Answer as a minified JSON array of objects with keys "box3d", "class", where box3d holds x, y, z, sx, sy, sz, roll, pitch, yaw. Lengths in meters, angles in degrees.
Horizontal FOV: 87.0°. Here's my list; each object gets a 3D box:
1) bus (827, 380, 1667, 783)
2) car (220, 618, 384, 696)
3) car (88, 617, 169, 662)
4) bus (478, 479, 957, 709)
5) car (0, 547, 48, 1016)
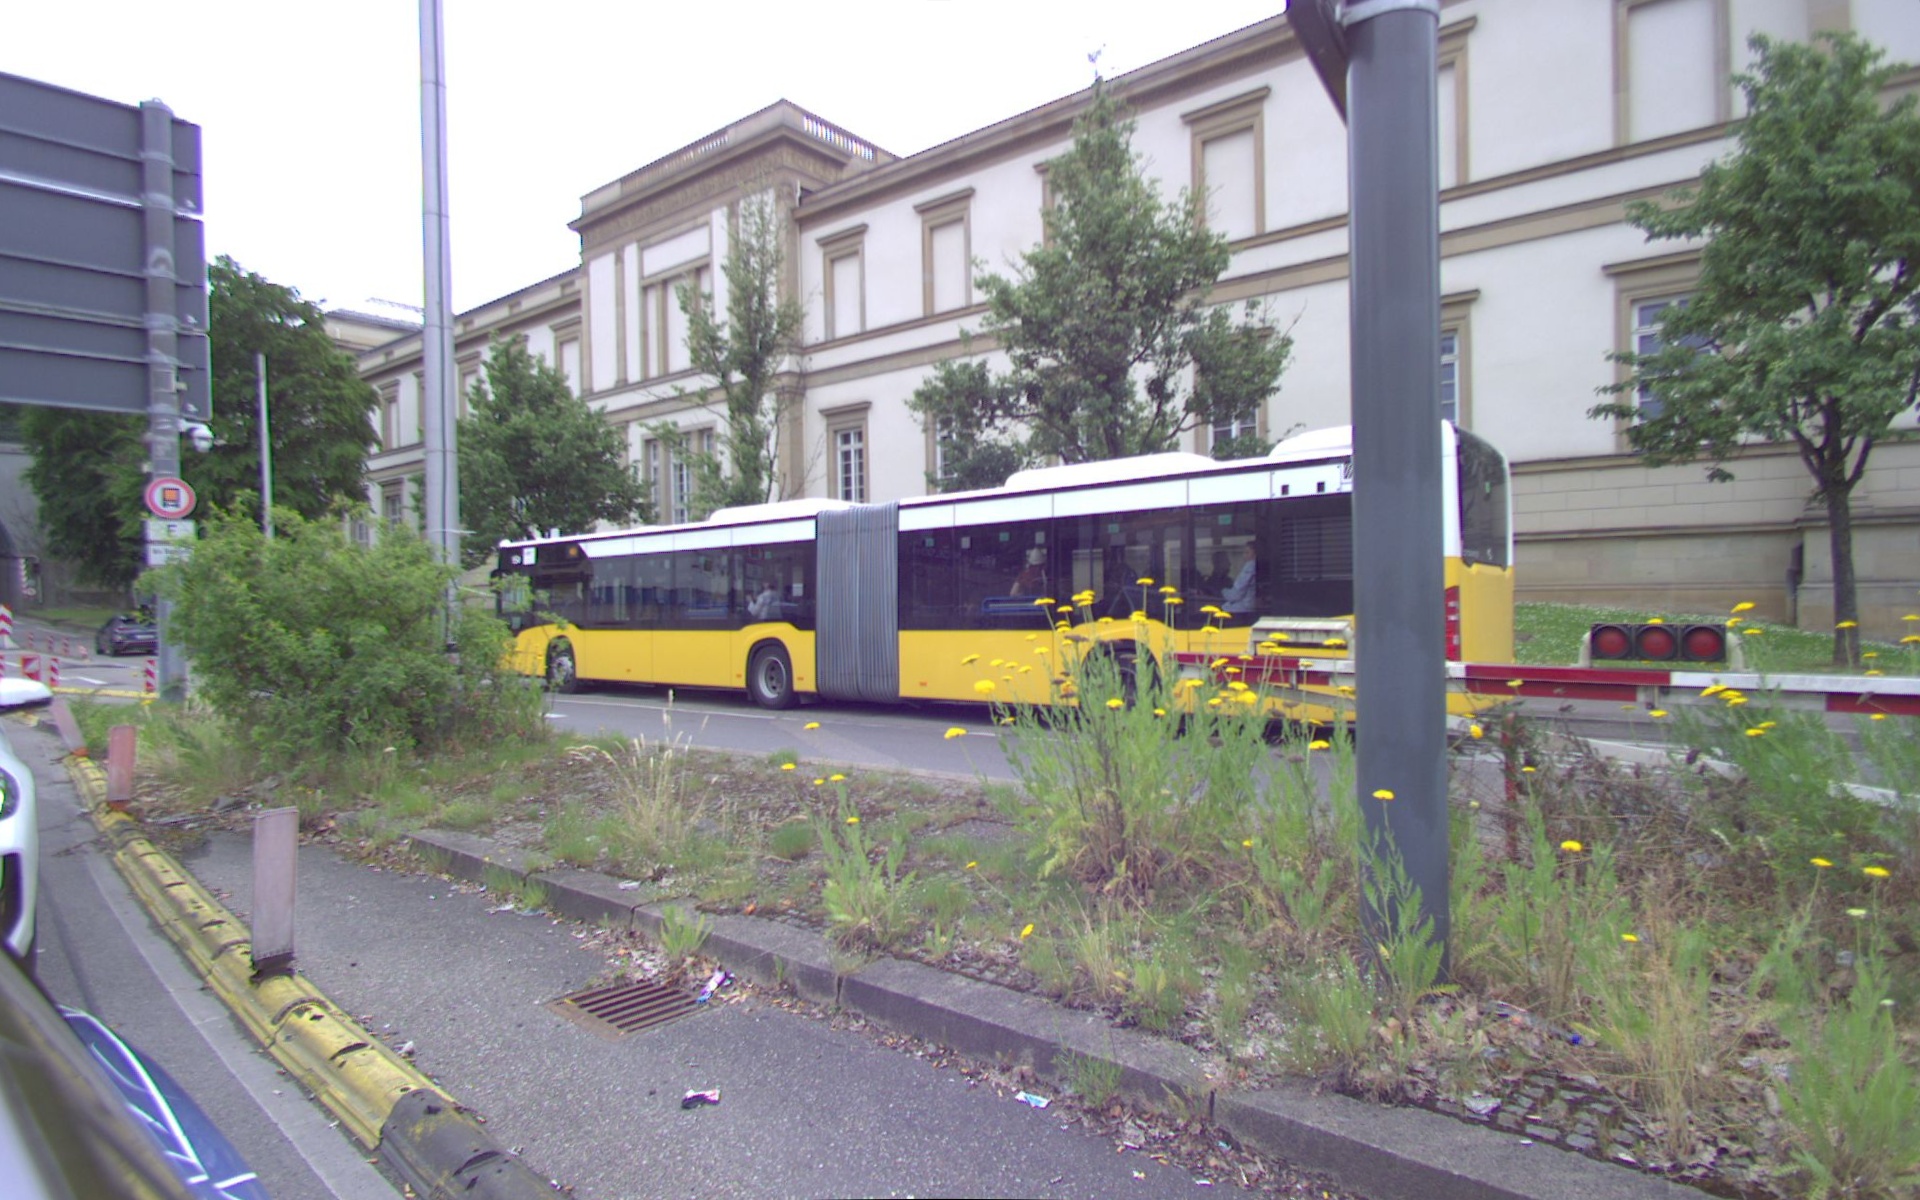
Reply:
[{"box3d":[2.604,-0.079,11.898,9.114,3.137,2.817,-1,0,40],"class":"bus"},{"box3d":[-14.443,1.176,22.108,4.625,1.482,1.684,-1,0,40],"class":"car"},{"box3d":[-32.122,1.496,39.066,3.879,1.601,1.680,-1,0,40],"class":"car"},{"box3d":[-4.748,-0.012,17.934,9.736,3.137,2.818,-1,0,39],"class":"bus"},{"box3d":[-5.255,0.674,4.178,3.881,1.603,1.824,-2,0,42],"class":"car"}]
